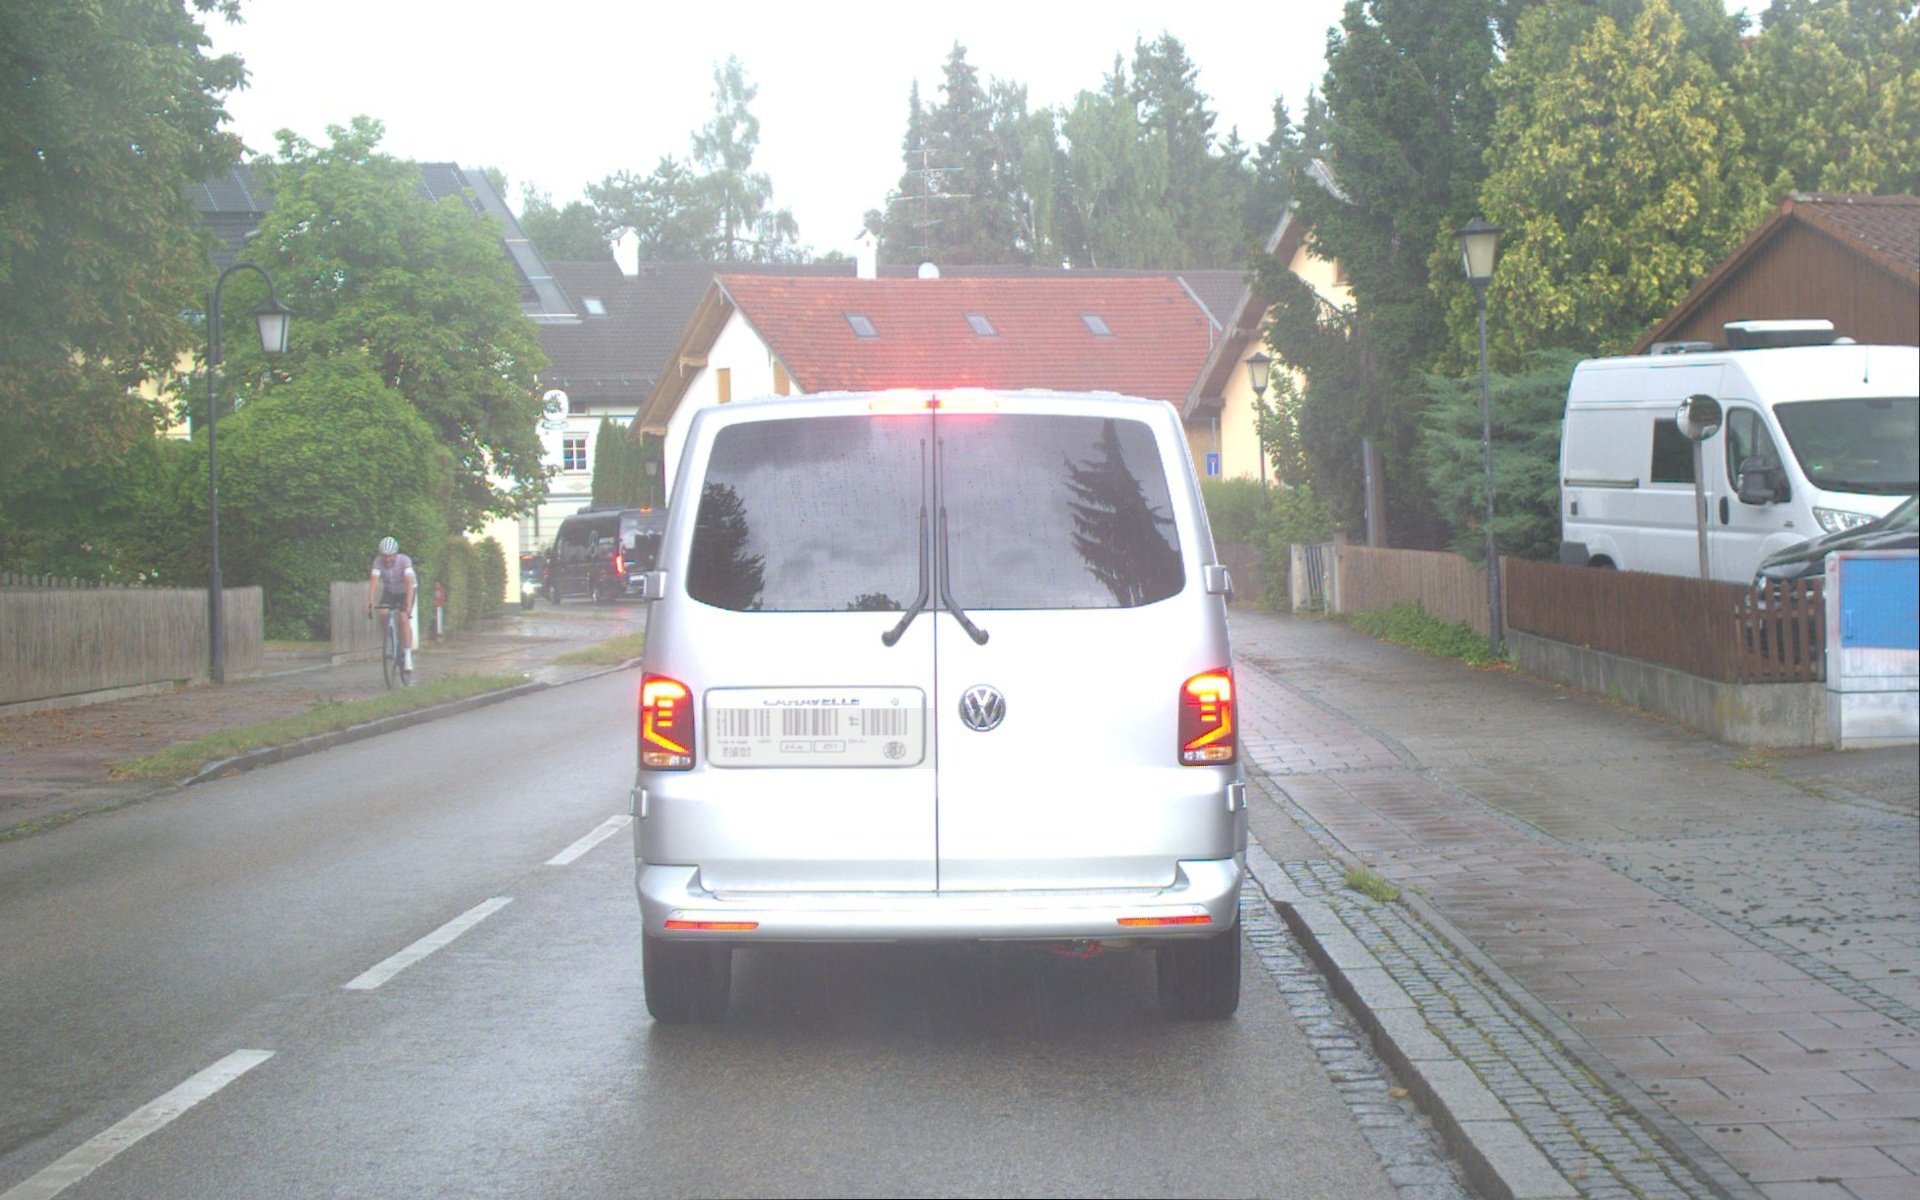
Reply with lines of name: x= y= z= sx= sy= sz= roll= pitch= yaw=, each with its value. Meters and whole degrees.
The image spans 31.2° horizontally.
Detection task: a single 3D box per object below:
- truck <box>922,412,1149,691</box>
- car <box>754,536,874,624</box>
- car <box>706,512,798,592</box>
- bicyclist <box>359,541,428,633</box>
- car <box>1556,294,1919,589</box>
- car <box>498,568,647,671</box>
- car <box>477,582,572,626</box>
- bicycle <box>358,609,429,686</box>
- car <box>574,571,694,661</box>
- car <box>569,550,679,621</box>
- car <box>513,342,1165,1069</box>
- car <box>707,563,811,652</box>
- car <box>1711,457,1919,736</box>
truck: x=0.849 y=-0.544 z=41.348 sx=2.475 sy=3.063 sz=6.296 roll=1 pitch=0 yaw=0
car: x=-3.503 y=-0.476 z=81.759 sx=1.993 sy=2.007 sz=4.001 roll=1 pitch=0 yaw=-15
car: x=-5.454 y=-1.234 z=89.700 sx=1.993 sy=2.007 sz=4.001 roll=1 pitch=0 yaw=-9
bicyclist: x=-6.310 y=-0.151 z=38.302 sx=0.587 sy=1.018 sz=1.060 roll=0 pitch=1 yaw=0
car: x=6.784 y=-1.185 z=28.082 sx=1.993 sy=2.166 sz=4.954 roll=1 pitch=0 yaw=-13
car: x=-5.634 y=0.271 z=50.329 sx=1.618 sy=1.439 sz=3.670 roll=0 pitch=0 yaw=2
car: x=-13.640 y=0.120 z=107.490 sx=1.780 sy=1.306 sz=3.776 roll=1 pitch=0 yaw=-27
bicycle: x=-6.300 y=0.520 z=38.287 sx=0.456 sy=0.796 sz=1.977 roll=0 pitch=1 yaw=0
car: x=-5.330 y=0.249 z=56.557 sx=1.618 sy=1.439 sz=3.670 roll=0 pitch=0 yaw=0
car: x=-9.478 y=-0.420 z=96.773 sx=1.993 sy=1.920 sz=4.001 roll=1 pitch=0 yaw=-22
car: x=-0.238 y=0.286 z=11.623 sx=1.801 sy=2.007 sz=4.000 roll=1 pitch=0 yaw=3
car: x=-3.730 y=0.129 z=63.442 sx=1.827 sy=1.553 sz=4.178 roll=-1 pitch=0 yaw=-4
car: x=7.283 y=-0.089 z=23.018 sx=4.093 sy=1.745 sz=1.695 roll=-1 pitch=3 yaw=-3
